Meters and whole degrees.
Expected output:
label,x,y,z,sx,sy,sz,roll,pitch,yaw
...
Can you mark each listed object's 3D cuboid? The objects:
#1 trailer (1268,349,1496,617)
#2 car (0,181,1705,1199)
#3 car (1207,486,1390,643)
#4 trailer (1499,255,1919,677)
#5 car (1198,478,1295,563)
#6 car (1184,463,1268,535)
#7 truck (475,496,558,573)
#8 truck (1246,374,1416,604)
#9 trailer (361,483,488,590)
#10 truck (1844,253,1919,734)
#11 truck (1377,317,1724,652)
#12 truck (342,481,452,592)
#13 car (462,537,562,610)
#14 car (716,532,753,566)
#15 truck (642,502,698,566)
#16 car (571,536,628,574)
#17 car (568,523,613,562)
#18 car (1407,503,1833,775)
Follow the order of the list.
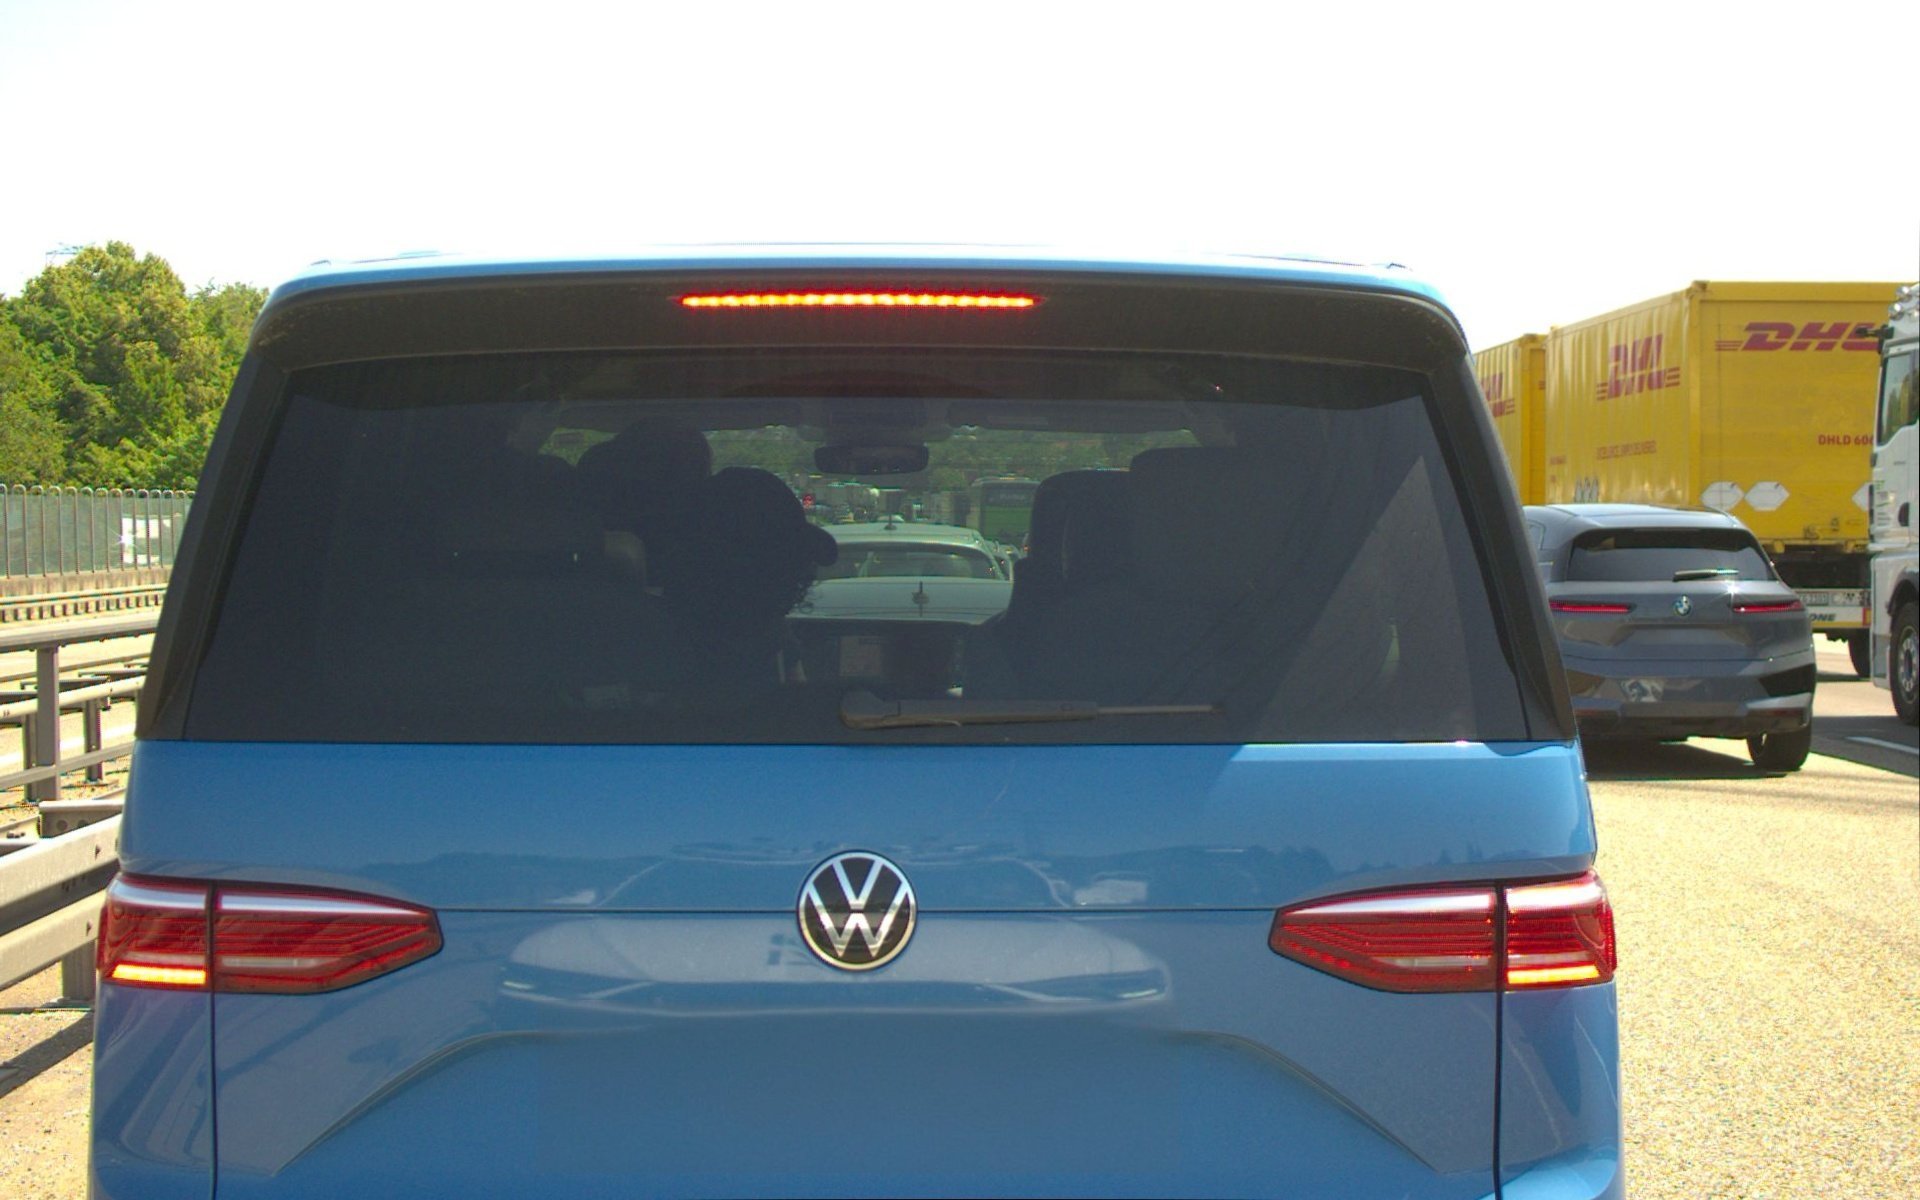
label,x,y,z,sx,sy,sz,roll,pitch,yaw
trailer,7.646,-2.095,63.807,2.637,4.501,11.302,1,1,-1
car,-0.167,0.470,5.604,1.820,1.851,4.075,1,1,0
car,4.443,-0.493,45.675,1.962,1.986,4.293,0,1,-1
trailer,8.363,-1.406,39.218,2.864,4.224,9.012,1,1,-1
car,6.992,-1.931,84.306,1.993,2.007,4.000,1,1,0
car,7.595,-2.869,98.412,1.993,2.007,4.461,-1,1,0
truck,-19.348,-2.842,150.335,2.518,3.100,8.724,-4,1,-1
truck,7.558,-2.222,70.860,2.667,4.469,6.850,1,1,0
trailer,-18.146,-2.166,117.206,2.481,3.332,12.074,-2,1,-1
truck,8.659,-0.739,22.613,2.656,3.635,11.011,0,1,-1
truck,8.173,-1.558,49.233,2.836,4.228,11.011,1,1,-1
truck,-18.049,-2.031,110.476,2.497,3.354,5.834,-2,1,-1
car,-9.543,-0.587,73.459,1.619,1.459,3.702,-2,1,0
car,-13.702,-3.078,209.196,1.993,2.007,4.312,1,1,0
truck,-16.084,-3.650,190.991,2.561,3.348,8.865,-2,1,-2
car,-14.610,-1.814,139.536,1.863,1.439,4.131,-3,1,0
car,-21.296,-3.336,198.517,2.082,2.142,4.312,-2,1,0
car,4.259,0.194,22.892,1.962,1.639,4.293,0,1,-1
